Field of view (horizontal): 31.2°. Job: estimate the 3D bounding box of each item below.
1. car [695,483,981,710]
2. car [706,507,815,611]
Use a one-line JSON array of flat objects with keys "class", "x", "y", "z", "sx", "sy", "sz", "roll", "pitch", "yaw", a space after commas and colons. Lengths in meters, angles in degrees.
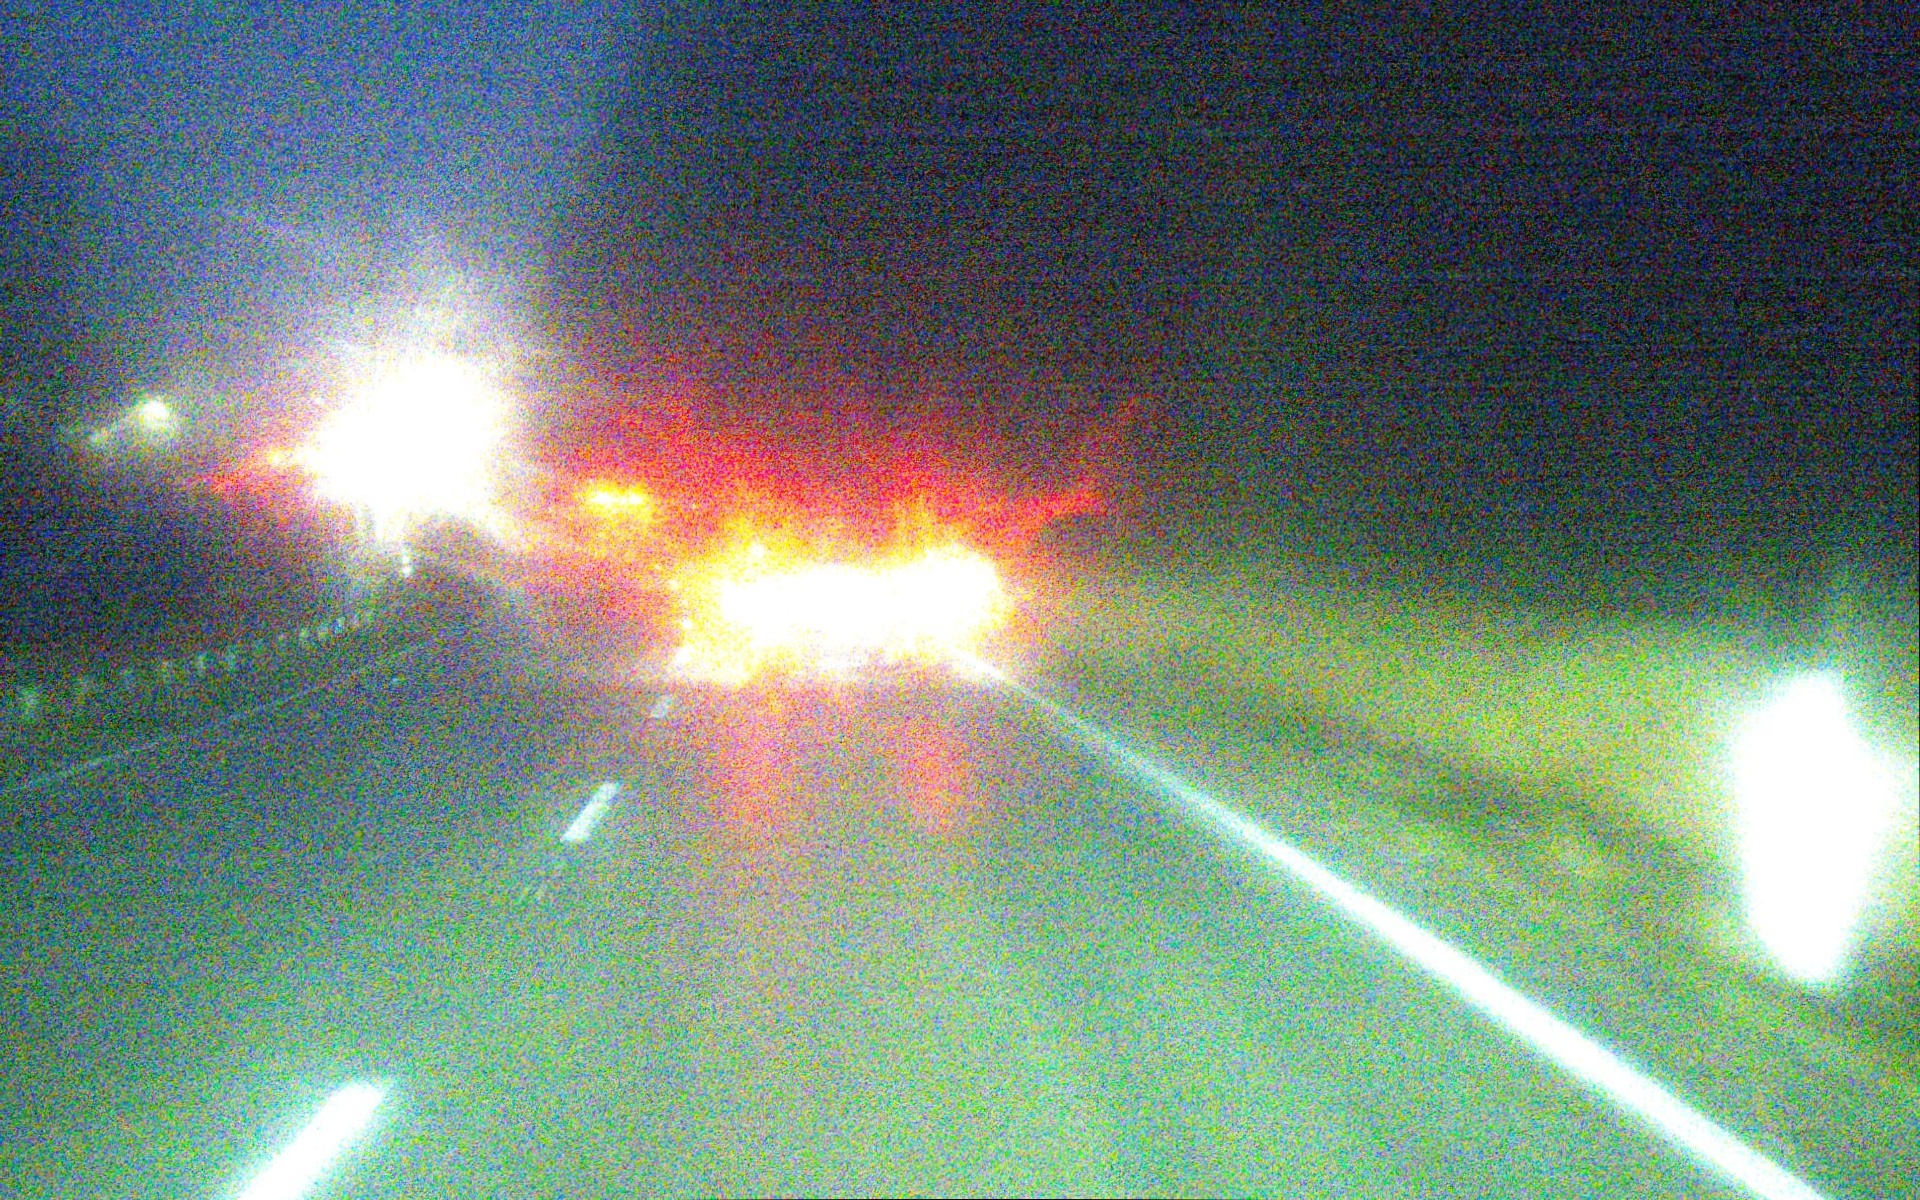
[{"class": "car", "x": -1.042, "y": -0.070, "z": 32.088, "sx": 2.458, "sy": 1.952, "sz": 4.912, "roll": 0, "pitch": 1, "yaw": 0}, {"class": "car", "x": -4.026, "y": -0.822, "z": 68.765, "sx": 1.993, "sy": 2.007, "sz": 4.001, "roll": -1, "pitch": 1, "yaw": -6}]
